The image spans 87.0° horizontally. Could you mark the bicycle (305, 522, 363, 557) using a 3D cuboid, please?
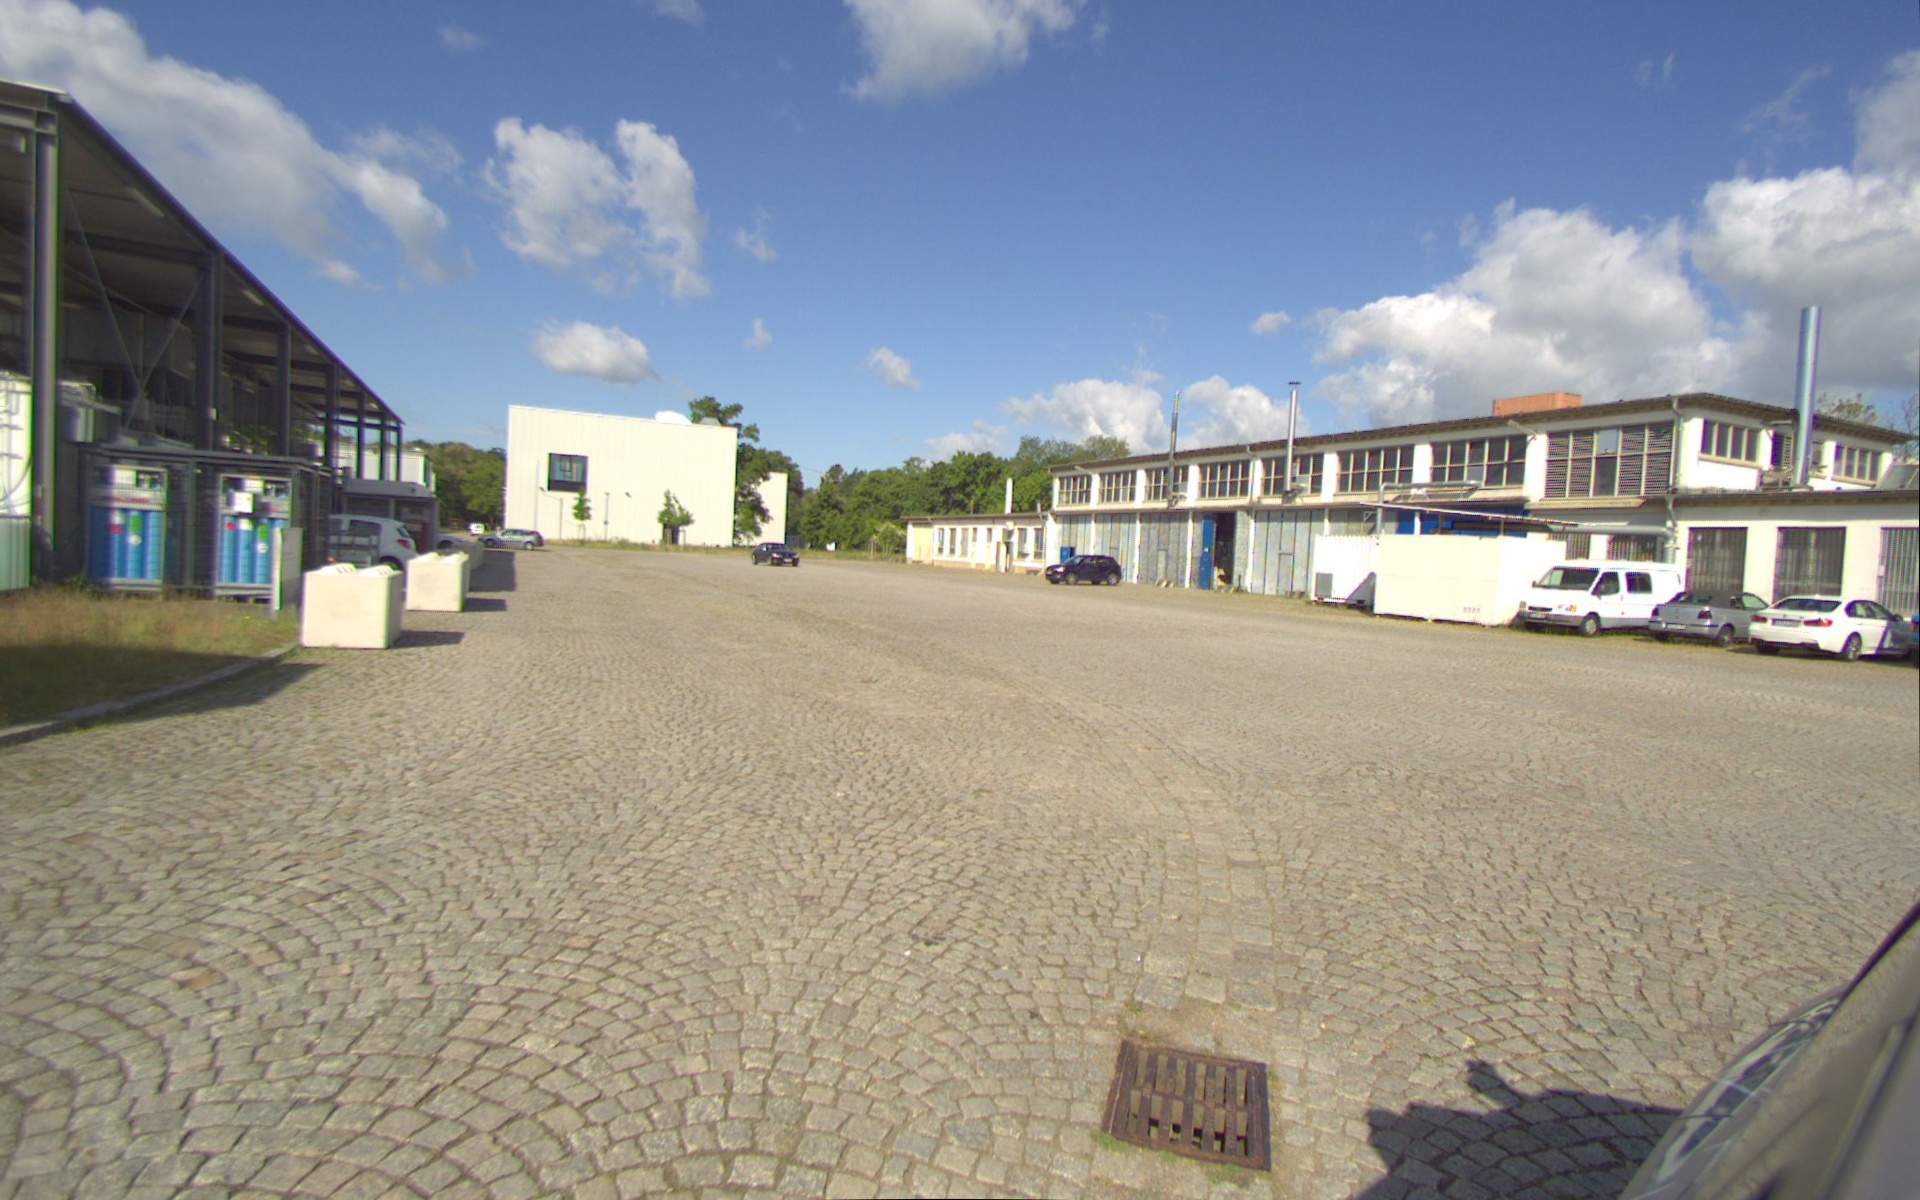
[{"bbox_3d":[-21.794,-2.099,35.247,1.636,1.150,0.486,2,2,-26],"label":"bicycle"}]

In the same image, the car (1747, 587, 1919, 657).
[{"bbox_3d":[20.119,0.481,23.096,3.660,1.422,1.742,0,3,-22],"label":"car"}]

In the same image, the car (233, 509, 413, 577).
[{"bbox_3d":[-14.735,-1.315,23.633,3.402,1.392,1.614,1,3,-28],"label":"car"}]

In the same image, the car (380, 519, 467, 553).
[{"bbox_3d":[-25.853,-3.096,48.894,3.622,1.426,1.679,2,3,-27],"label":"car"}]

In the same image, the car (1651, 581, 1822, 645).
[{"bbox_3d":[19.892,0.323,25.945,3.751,1.415,1.697,2,3,-22],"label":"car"}]

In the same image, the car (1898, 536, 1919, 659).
[{"bbox_3d":[22.385,0.070,21.004,5.128,2.513,2.095,2,2,-21],"label":"car"}]

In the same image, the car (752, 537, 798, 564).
[{"bbox_3d":[-11.174,-2.993,60.978,1.704,1.446,4.085,2,3,-26],"label":"car"}]

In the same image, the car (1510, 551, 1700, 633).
[{"bbox_3d":[18.104,-0.236,28.429,4.704,2.106,2.015,1,3,-21],"label":"car"}]

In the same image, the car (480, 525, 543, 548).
[{"bbox_3d":[-33.647,-4.774,75.936,4.268,1.487,1.744,2,3,-26],"label":"car"}]

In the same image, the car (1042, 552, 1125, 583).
[{"bbox_3d":[6.525,-1.724,53.431,3.992,1.487,1.744,1,3,-26],"label":"car"}]

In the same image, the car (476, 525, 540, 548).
[{"bbox_3d":[-32.530,-4.563,72.886,4.101,1.420,1.744,2,3,-26],"label":"car"}]
